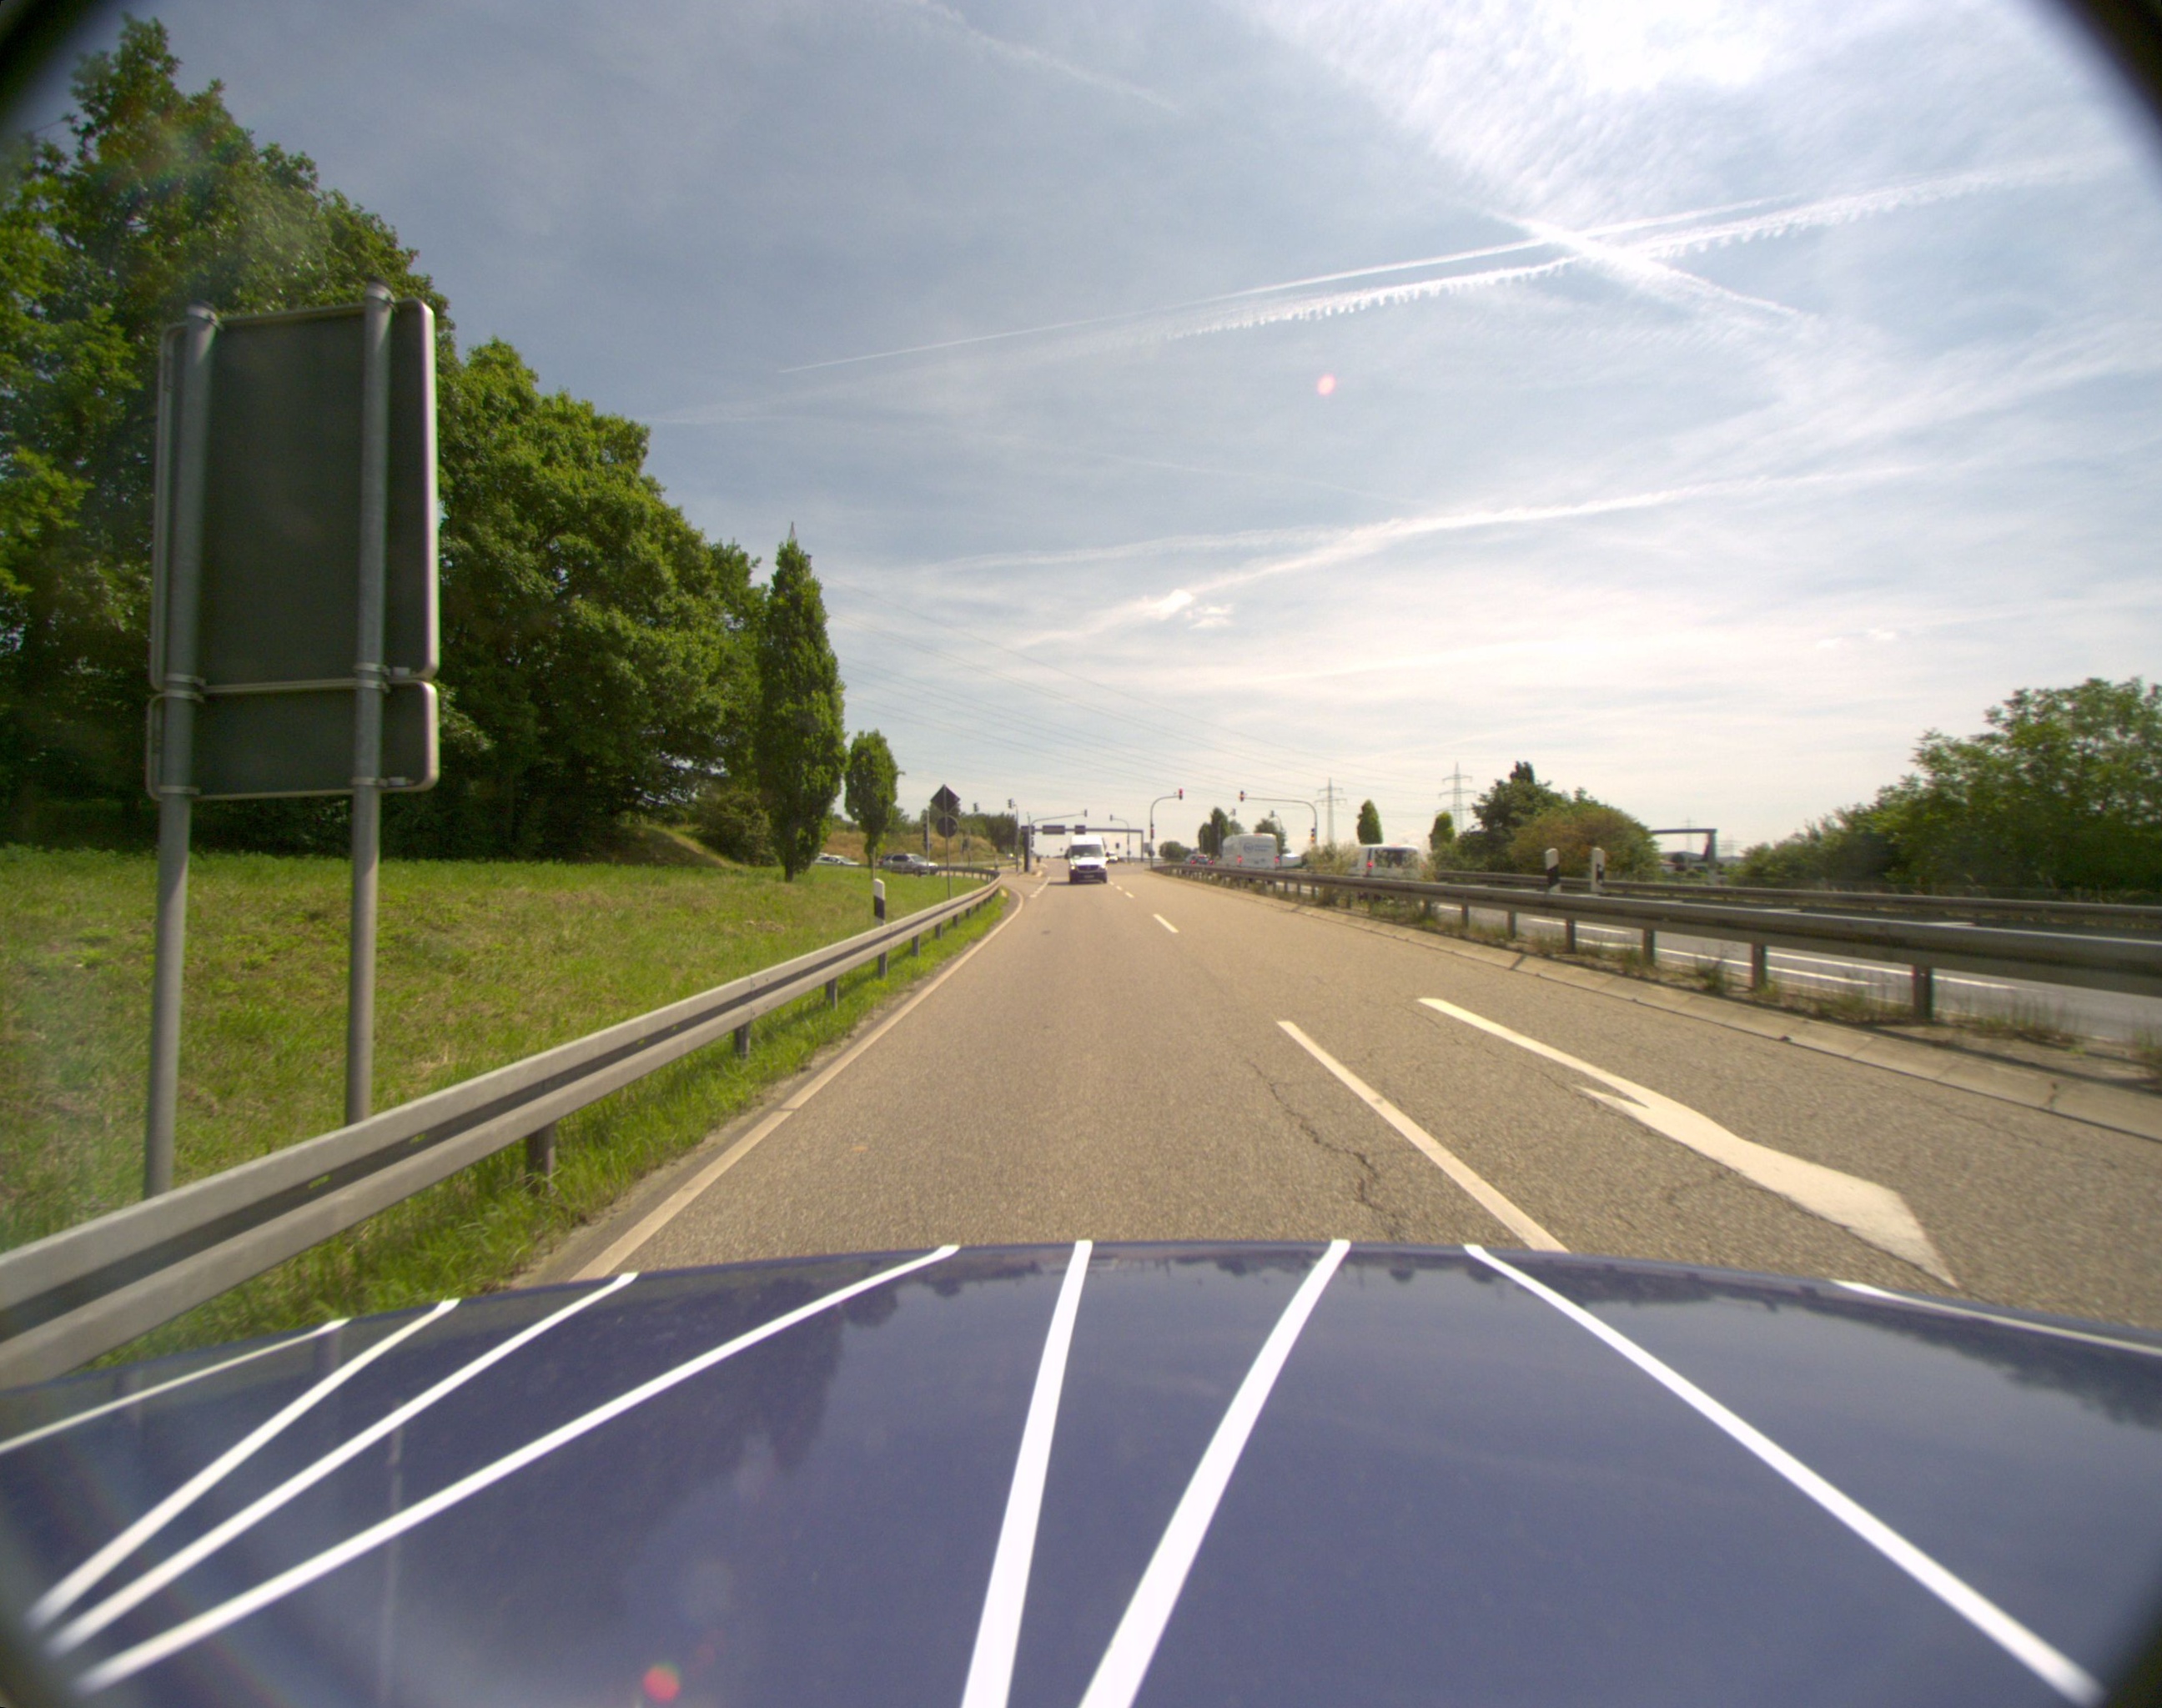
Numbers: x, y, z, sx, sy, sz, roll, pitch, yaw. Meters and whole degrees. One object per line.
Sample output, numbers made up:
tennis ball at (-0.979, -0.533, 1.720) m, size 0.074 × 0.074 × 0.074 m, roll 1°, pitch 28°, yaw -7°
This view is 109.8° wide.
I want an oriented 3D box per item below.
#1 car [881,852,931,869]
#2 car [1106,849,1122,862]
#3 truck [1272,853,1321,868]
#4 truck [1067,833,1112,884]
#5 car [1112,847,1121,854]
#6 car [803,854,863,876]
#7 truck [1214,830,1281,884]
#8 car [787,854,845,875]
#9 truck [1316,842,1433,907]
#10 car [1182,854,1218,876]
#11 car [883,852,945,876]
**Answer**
car at (-16.305, 0.574, 70.754) m, size 4.375 × 1.502 × 1.714 m, roll 1°, pitch 1°, yaw -15°
car at (4.729, 0.151, 109.341) m, size 1.772 × 1.788 × 4.750 m, roll -2°, pitch 0°, yaw -2°
truck at (26.216, 0.774, 92.439) m, size 5.284 × 1.746 × 1.998 m, roll 1°, pitch 1°, yaw -11°
truck at (0.386, 0.218, 41.123) m, size 1.999 × 2.518 × 5.102 m, roll -1°, pitch 1°, yaw -4°
car at (8.003, -0.779, 172.386) m, size 1.649 × 1.614 × 4.326 m, roll 1°, pitch 1°, yaw -3°
car at (-19.033, 0.851, 58.270) m, size 3.993 × 1.591 × 1.783 m, roll 0°, pitch 1°, yaw 12°
truck at (8.627, 0.148, 39.952) m, size 2.046 × 2.605 × 6.019 m, roll 1°, pitch 0°, yaw -1°
car at (-21.659, 0.821, 62.257) m, size 4.376 × 1.583 × 1.777 m, roll -1°, pitch 1°, yaw -19°
truck at (8.847, 0.540, 23.367) m, size 1.853 × 1.739 × 4.537 m, roll 1°, pitch 1°, yaw 1°
car at (8.500, 0.743, 54.773) m, size 1.760 × 1.460 × 4.195 m, roll 1°, pitch 0°, yaw -2°
car at (-12.208, 0.714, 55.513) m, size 4.360 × 1.645 × 1.840 m, roll 0°, pitch 0°, yaw 30°
